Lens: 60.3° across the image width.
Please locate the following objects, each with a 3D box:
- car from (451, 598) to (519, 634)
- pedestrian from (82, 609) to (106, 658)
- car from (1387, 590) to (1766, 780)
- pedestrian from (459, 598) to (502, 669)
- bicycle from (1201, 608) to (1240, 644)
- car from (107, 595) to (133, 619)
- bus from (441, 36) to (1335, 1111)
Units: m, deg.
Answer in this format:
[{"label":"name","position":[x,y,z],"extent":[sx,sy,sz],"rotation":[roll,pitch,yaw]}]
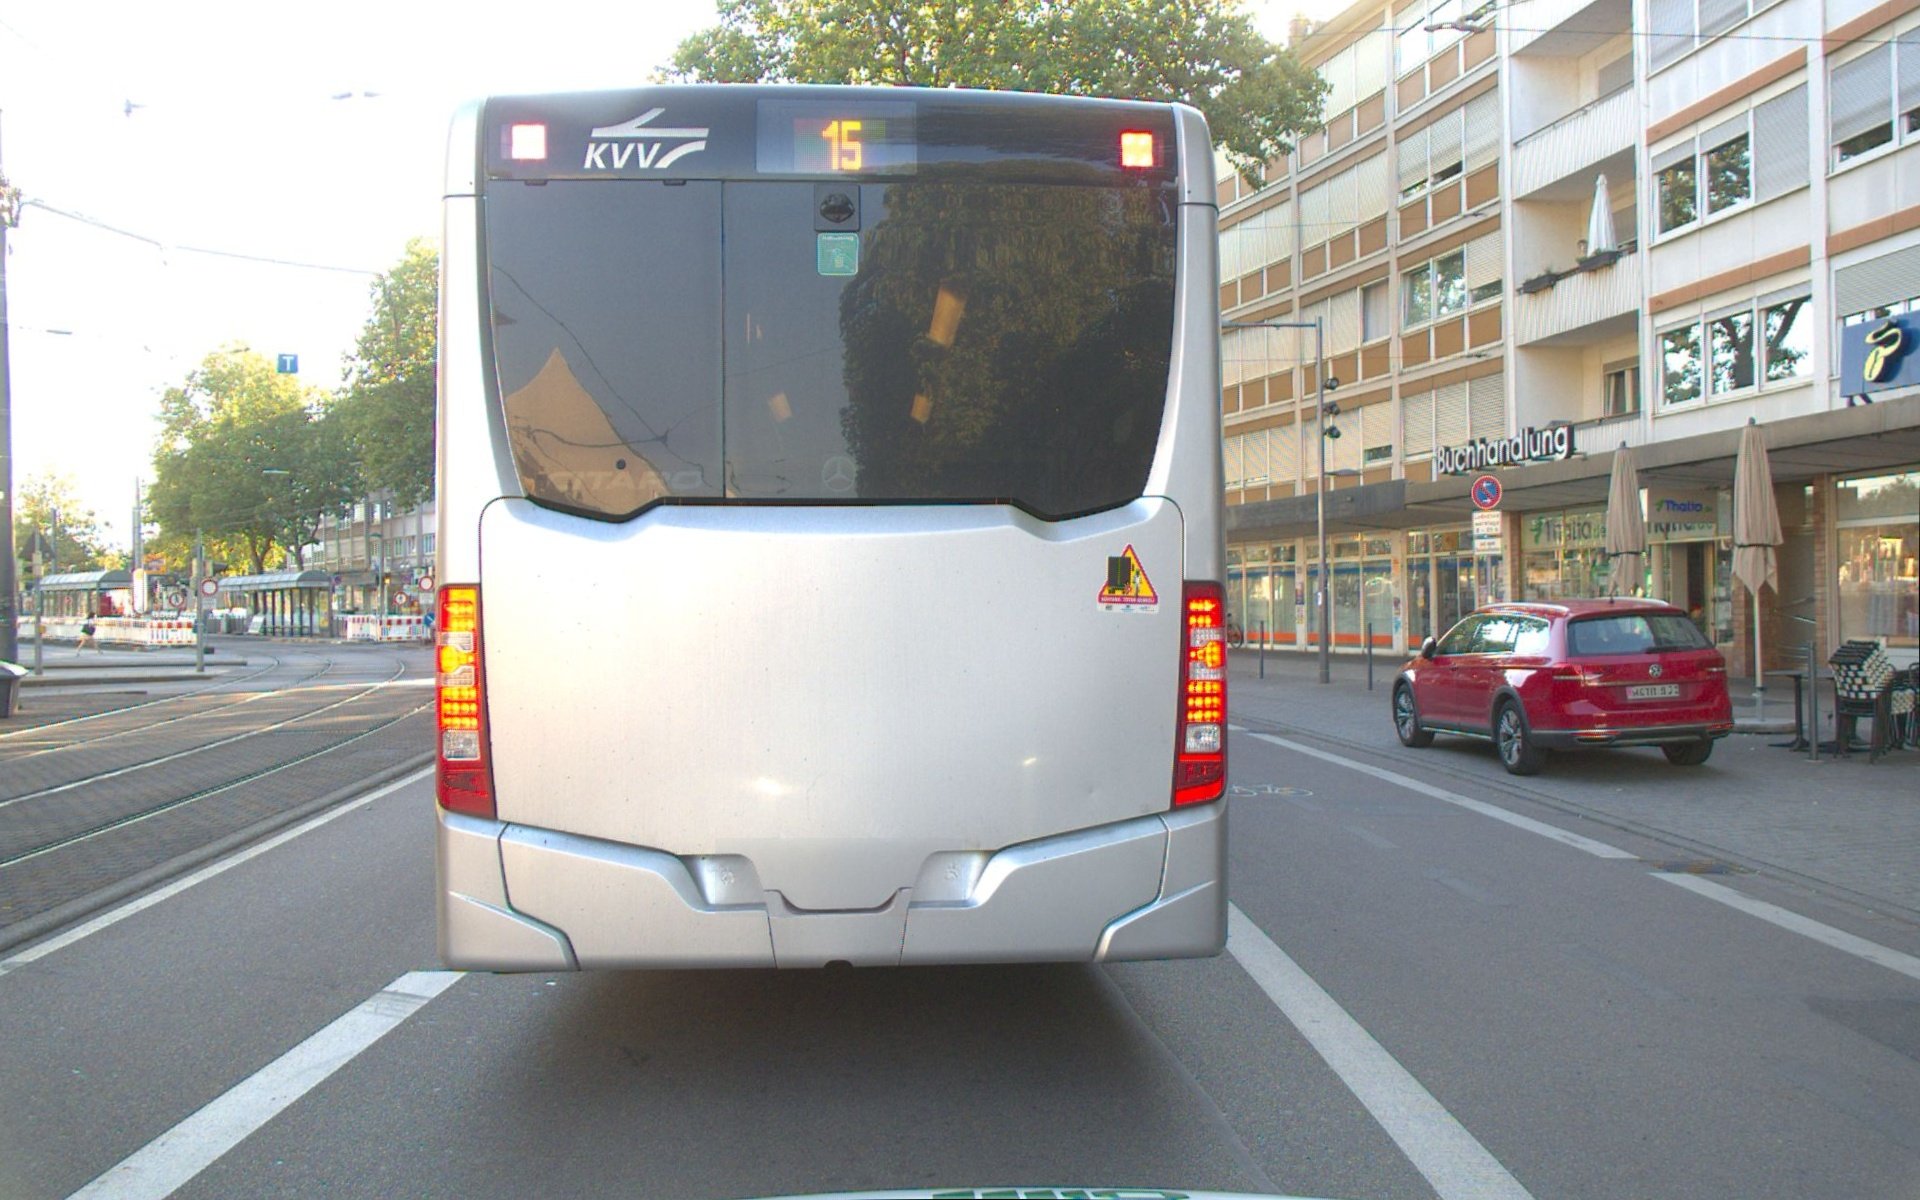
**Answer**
[{"label":"car","position":[-25.247,0.835,87.824],"extent":[1.982,1.823,3.940],"rotation":[1,-1,-41]},{"label":"pedestrian","position":[-30.492,1.178,58.246],"extent":[0.653,1.685,0.436],"rotation":[-1,-1,-44]},{"label":"car","position":[5.700,0.705,15.935],"extent":[1.735,1.508,4.299],"rotation":[-2,0,-4]},{"label":"pedestrian","position":[-11.947,0.827,41.198],"extent":[0.878,1.758,0.517],"rotation":[-1,0,1]},{"label":"bicycle","position":[7.198,0.714,45.719],"extent":[0.406,0.961,1.431],"rotation":[-1,0,-20]},{"label":"car","position":[-71.652,0.604,141.059],"extent":[1.604,2.049,3.075],"rotation":[-1,0,-34]},{"label":"bus","position":[-0.405,-0.061,9.804],"extent":[2.578,3.081,9.992],"rotation":[0,0,-3]}]
